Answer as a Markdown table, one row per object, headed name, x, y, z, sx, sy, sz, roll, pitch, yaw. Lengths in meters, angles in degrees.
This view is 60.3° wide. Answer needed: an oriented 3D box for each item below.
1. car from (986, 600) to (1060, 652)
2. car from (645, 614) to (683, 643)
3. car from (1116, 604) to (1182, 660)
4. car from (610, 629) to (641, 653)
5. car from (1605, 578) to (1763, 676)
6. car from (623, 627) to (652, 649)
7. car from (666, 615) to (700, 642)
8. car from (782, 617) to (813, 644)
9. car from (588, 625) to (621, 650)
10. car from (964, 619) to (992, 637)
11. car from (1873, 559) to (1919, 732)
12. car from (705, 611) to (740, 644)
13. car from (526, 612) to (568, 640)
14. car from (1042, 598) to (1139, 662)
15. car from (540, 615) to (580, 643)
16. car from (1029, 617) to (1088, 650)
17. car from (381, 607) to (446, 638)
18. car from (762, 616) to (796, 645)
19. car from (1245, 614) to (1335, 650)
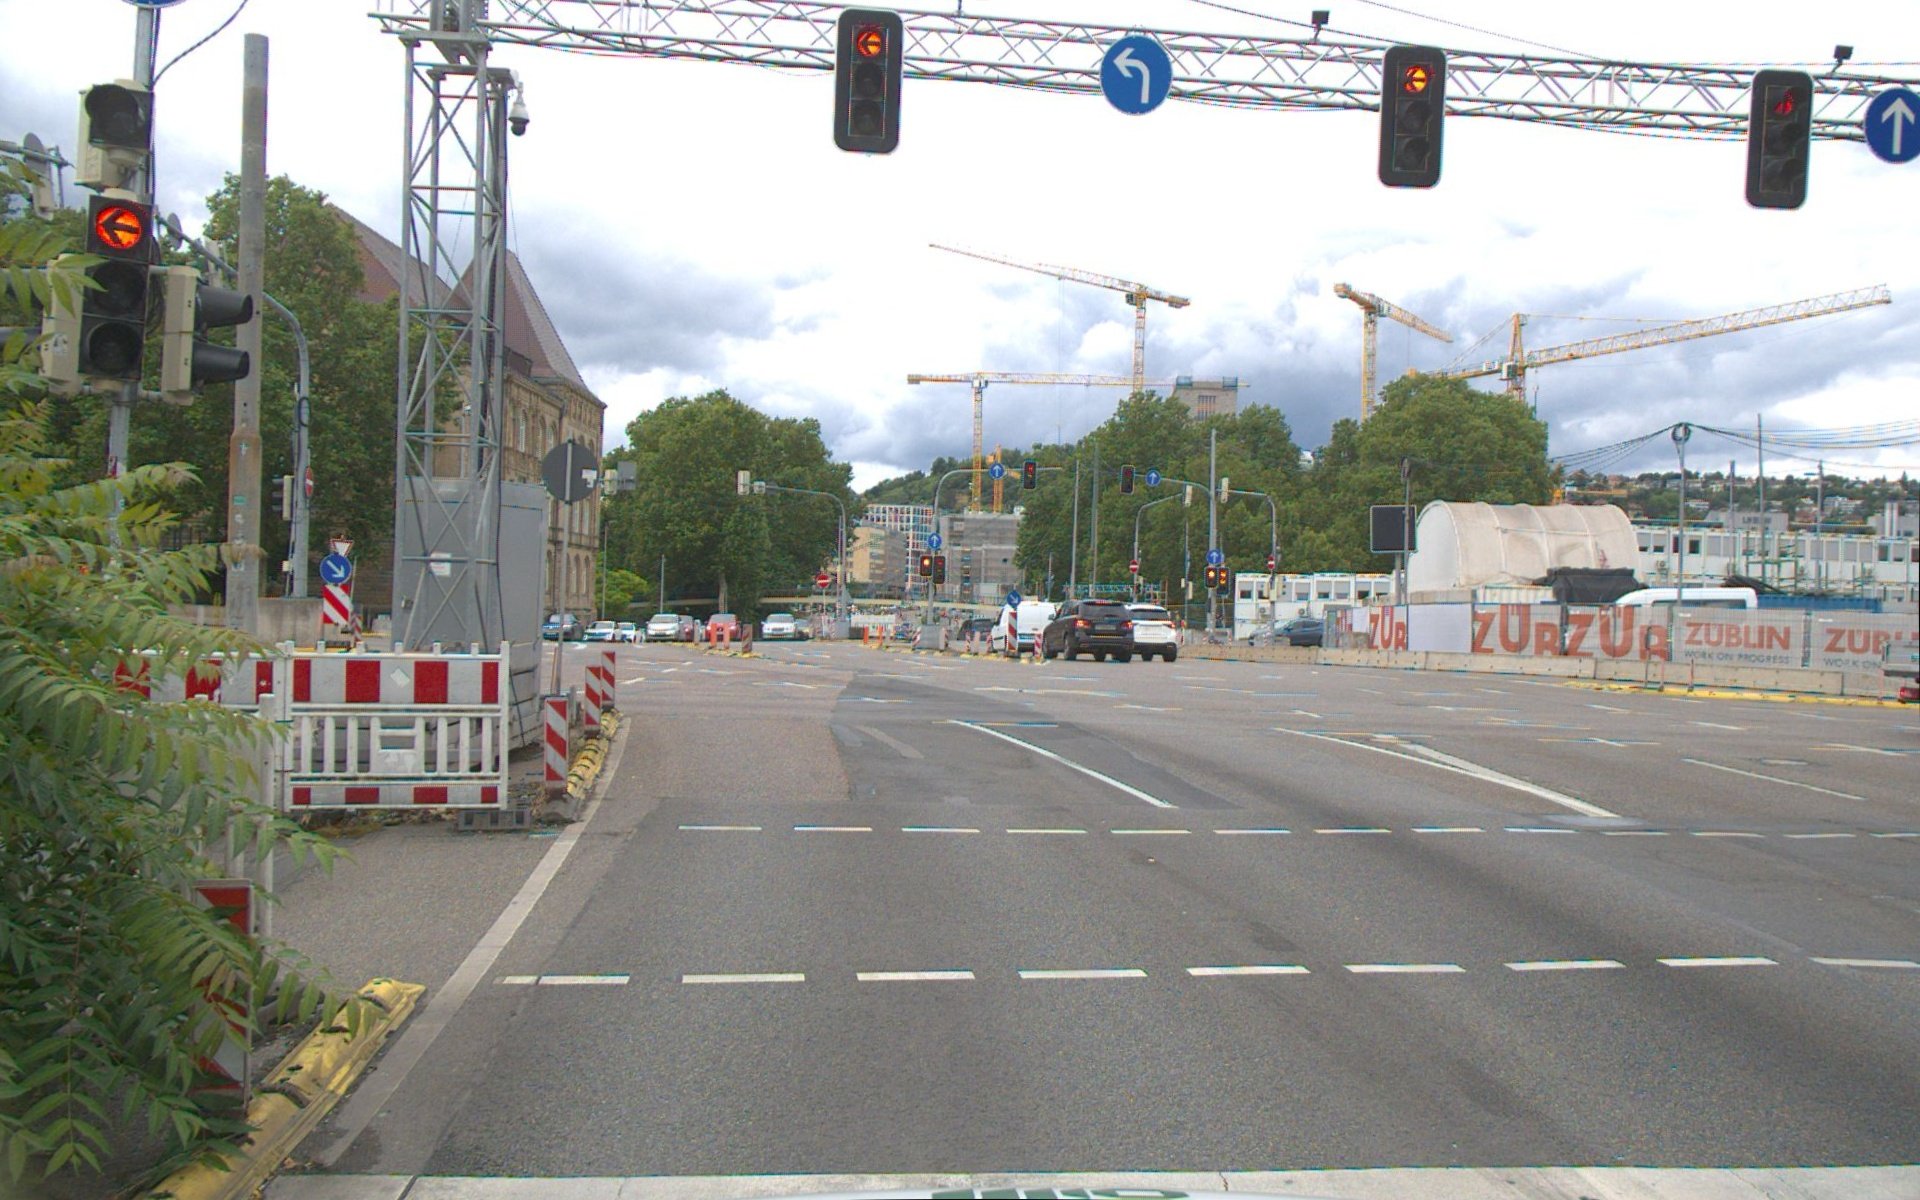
| name | x | y | z | sx | sy | sz | roll | pitch | yaw |
| --- | --- | --- | --- | --- | --- | --- | --- | --- | --- |
| car | 2.077 | 0.858 | 55.552 | 1.783 | 1.653 | 3.993 | 1 | 0 | -8 |
| car | -15.260 | 1.437 | 85.380 | 1.644 | 1.422 | 3.677 | 1 | 0 | -7 |
| car | 6.038 | 1.004 | 53.130 | 1.642 | 1.732 | 3.374 | 1 | 0 | -1 |
| car | -21.777 | 2.649 | 107.726 | 1.644 | 1.422 | 3.677 | 2 | 0 | -7 |
| car | 20.820 | 0.750 | 47.684 | 3.902 | 2.708 | 1.683 | 1 | -1 | 13 |
| car | -22.444 | 2.614 | 115.146 | 1.644 | 1.422 | 3.677 | 1 | 0 | -7 |
| car | -15.301 | 1.567 | 91.538 | 1.644 | 1.422 | 3.677 | 1 | 0 | -7 |
| car | -9.362 | 1.737 | 95.051 | 1.644 | 1.422 | 3.677 | 1 | 0 | -7 |
| car | -21.527 | 2.254 | 100.252 | 1.644 | 1.422 | 3.677 | 1 | 0 | -7 |
| car | 1.159 | 1.811 | 108.275 | 1.284 | 1.093 | 3.676 | 1 | 0 | -8 |
| car | 15.809 | 0.663 | 22.392 | 5.640 | 2.345 | 2.303 | 1 | 0 | 0 |
| car | -12.128 | 1.395 | 84.519 | 1.644 | 1.608 | 3.677 | 1 | 0 | -7 |
| car | -21.482 | 1.333 | 86.145 | 1.644 | 1.422 | 3.677 | 1 | 0 | -7 |
| car | 3.776 | 0.846 | 48.532 | 1.799 | 1.776 | 4.245 | 1 | 0 | -10 |
| car | -21.420 | 1.519 | 88.630 | 1.644 | 1.422 | 3.677 | 1 | 0 | -7 |
| car | 4.508 | 1.521 | 76.040 | 1.650 | 1.422 | 3.070 | 1 | 0 | -19 |
| car | -25.807 | 1.049 | 78.149 | 1.641 | 1.422 | 3.684 | 1 | 0 | 3 |
| car | -9.301 | 1.538 | 84.901 | 1.644 | 1.422 | 3.677 | 1 | 0 | -7 |
| car | 16.001 | 1.545 | 80.230 | 3.927 | 1.653 | 1.812 | 1 | 0 | -20 |
